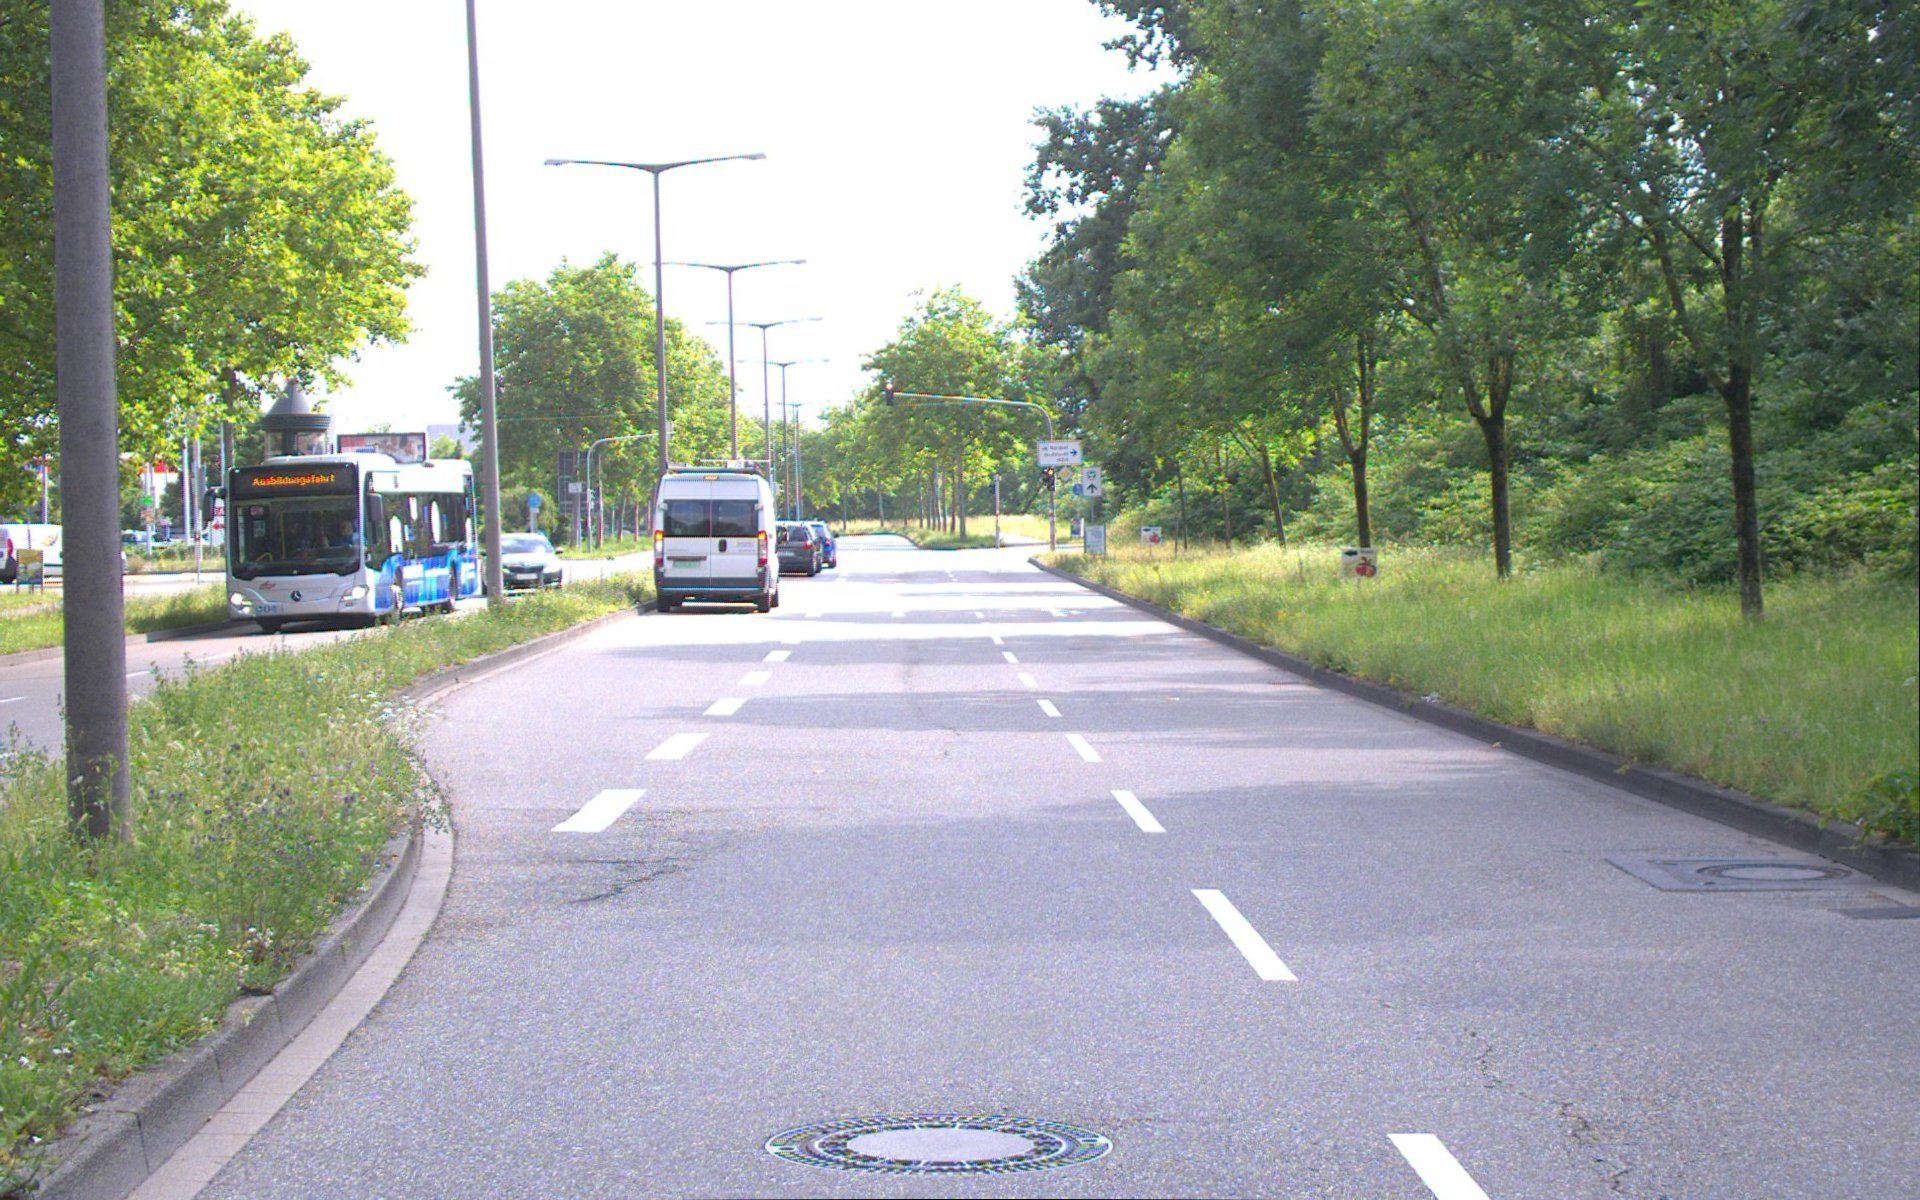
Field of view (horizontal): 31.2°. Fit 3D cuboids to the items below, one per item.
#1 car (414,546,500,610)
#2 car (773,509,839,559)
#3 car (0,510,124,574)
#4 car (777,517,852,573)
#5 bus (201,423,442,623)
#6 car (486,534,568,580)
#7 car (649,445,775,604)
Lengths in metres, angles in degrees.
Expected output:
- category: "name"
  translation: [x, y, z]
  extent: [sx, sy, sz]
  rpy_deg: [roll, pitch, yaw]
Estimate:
- category: "car"
  translation: [-14.005, -0.591, 95.813]
  extent: [1.884, 1.578, 3.880]
  rpy_deg: [0, -2, -1]
- category: "car"
  translation: [-4.827, -2.052, 107.342]
  extent: [1.806, 1.465, 3.857]
  rpy_deg: [-1, 1, -6]
- category: "car"
  translation: [-28.943, -1.837, 109.664]
  extent: [3.988, 1.832, 1.864]
  rpy_deg: [2, -3, -40]
- category: "car"
  translation: [-4.059, -1.526, 95.548]
  extent: [1.806, 1.465, 3.857]
  rpy_deg: [-1, 1, -6]
- category: "bus"
  translation: [-11.735, -1.356, 64.375]
  extent: [3.109, 3.263, 12.340]
  rpy_deg: [-2, 1, -5]
- category: "car"
  translation: [-10.283, -1.030, 81.754]
  extent: [1.559, 1.037, 3.414]
  rpy_deg: [-1, 1, -1]
- category: "car"
  translation: [-4.480, -1.436, 62.752]
  extent: [2.197, 2.716, 4.933]
  rpy_deg: [0, 3, -3]
